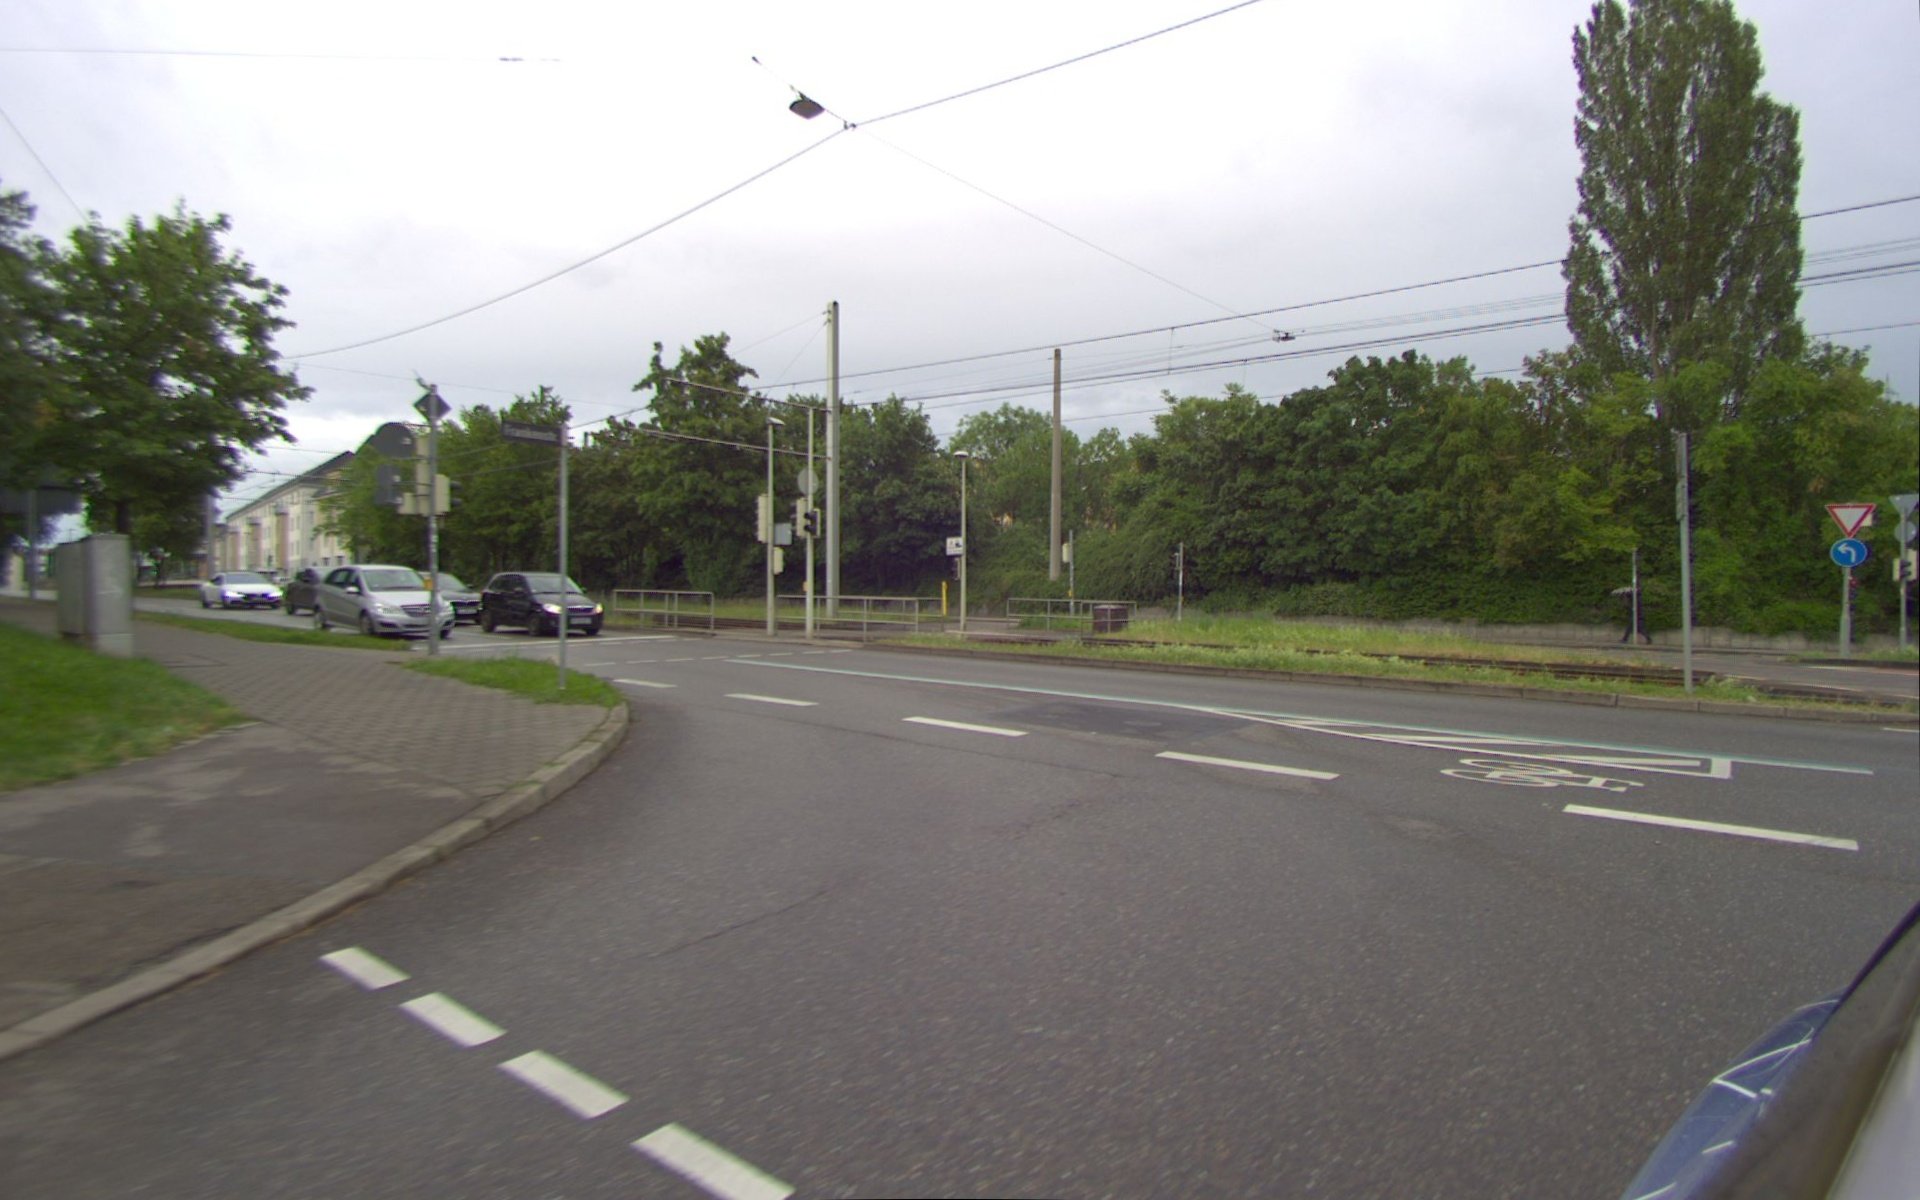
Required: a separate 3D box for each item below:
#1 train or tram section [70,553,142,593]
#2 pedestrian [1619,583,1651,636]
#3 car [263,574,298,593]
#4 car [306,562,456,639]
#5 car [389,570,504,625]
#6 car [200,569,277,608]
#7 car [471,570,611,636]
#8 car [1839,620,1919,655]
[{"bbox_3d":[-95.073,-2.965,112.461,14.981,3.944,4.011,1,-1,42],"label":"train or tram section"},{"bbox_3d":[20.956,0.301,31.435,0.681,1.628,0.797,-2,-4,43],"label":"pedestrian"},{"bbox_3d":[-59.887,-1.489,89.162,3.777,1.541,1.683,2,-1,42],"label":"car"},{"bbox_3d":[-13.217,-0.061,23.041,3.844,1.573,1.701,2,3,39],"label":"car"},{"bbox_3d":[-14.509,-0.118,28.542,3.775,1.419,1.583,2,2,40],"label":"car"},{"bbox_3d":[-28.065,-0.472,39.334,3.775,1.419,1.583,2,2,40],"label":"car"},{"bbox_3d":[-10.150,0.008,24.401,3.775,1.419,1.583,2,3,40],"label":"car"},{"bbox_3d":[39.572,1.569,42.395,3.977,1.371,1.656,1,0,37],"label":"car"}]
